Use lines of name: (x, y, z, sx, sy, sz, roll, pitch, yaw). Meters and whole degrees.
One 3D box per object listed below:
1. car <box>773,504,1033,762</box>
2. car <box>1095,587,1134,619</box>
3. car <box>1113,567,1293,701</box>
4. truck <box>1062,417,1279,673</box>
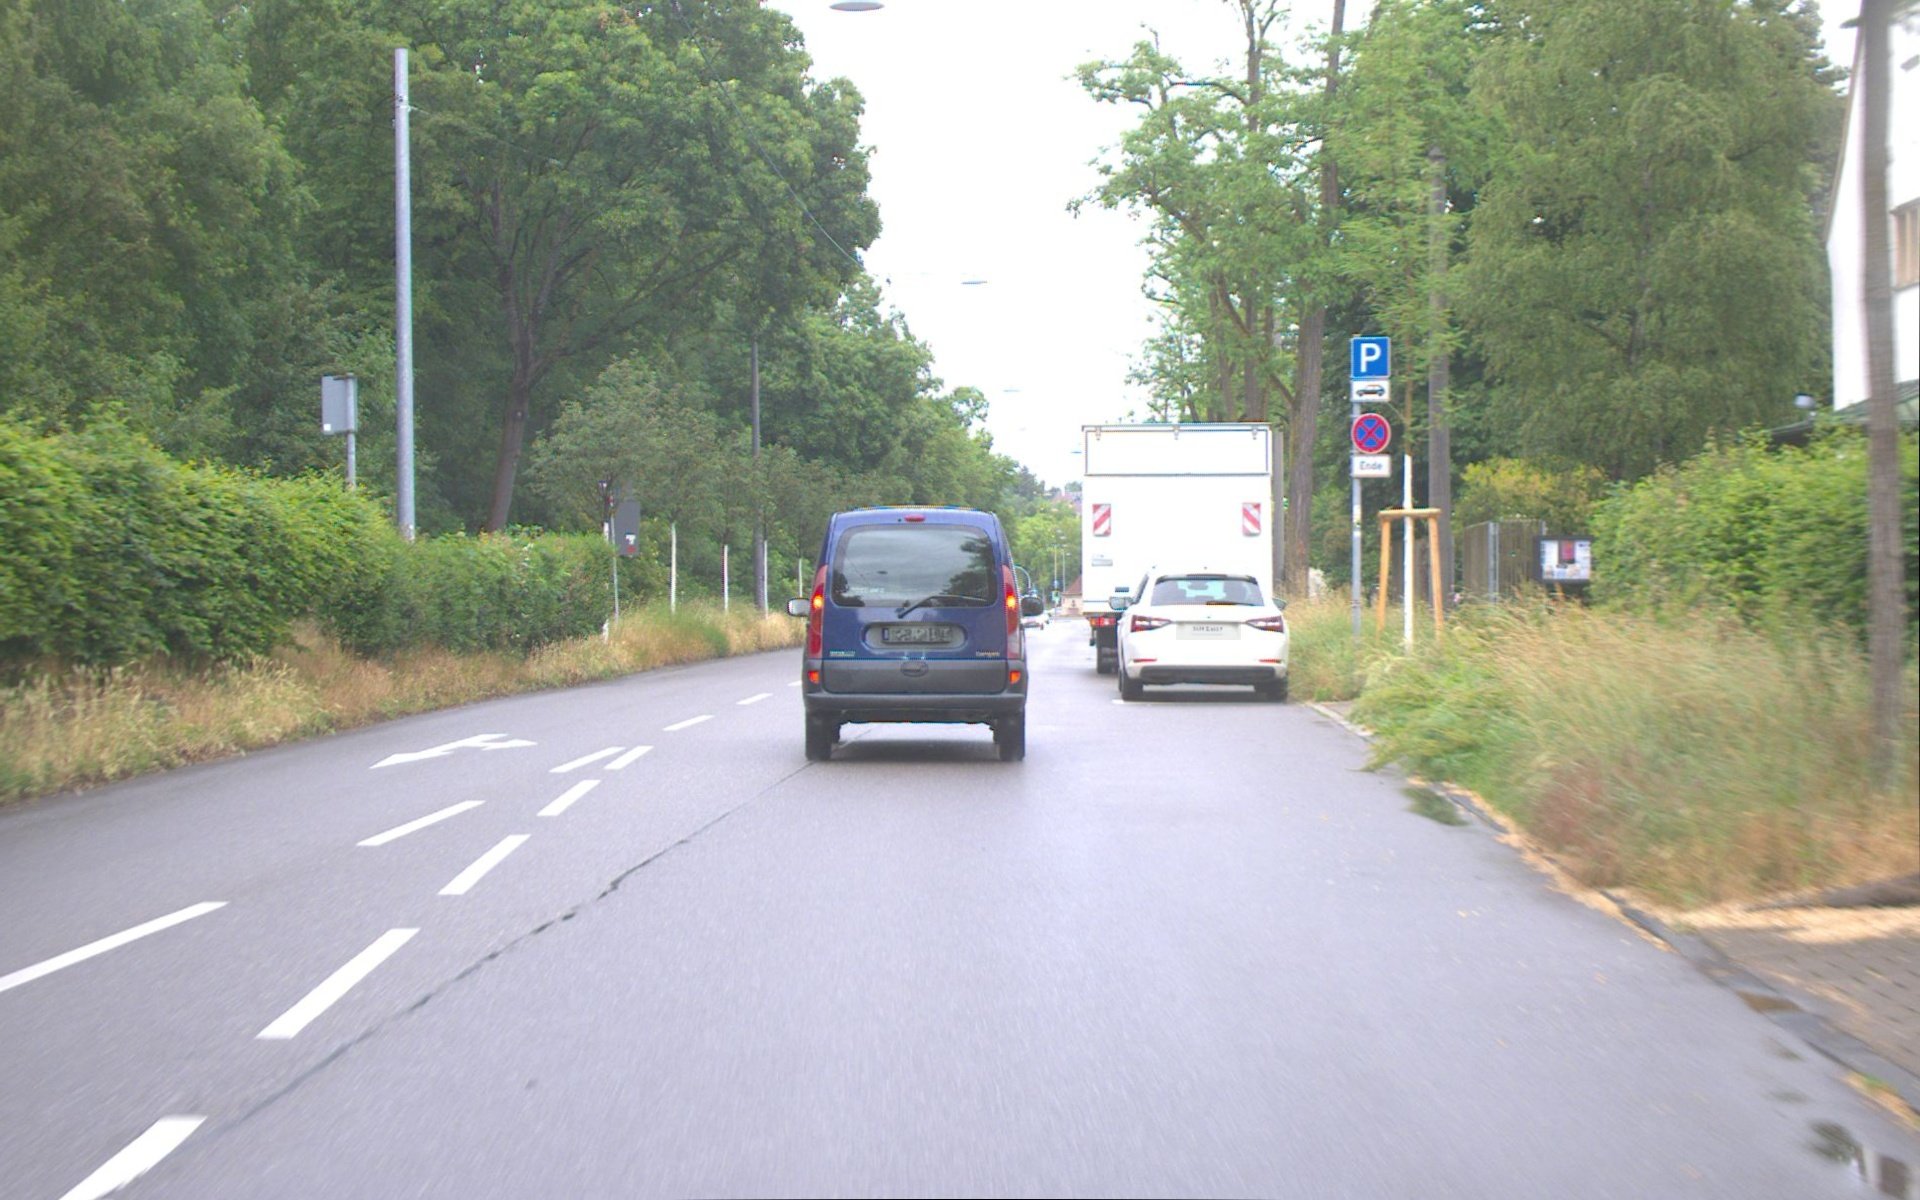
car: (-0.510, 0.212, 26.157, 1.808, 1.791, 4.001, -1, 1, -3)
car: (7.982, 0.160, 177.690, 1.993, 1.579, 4.000, -1, 1, 2)
car: (2.654, 0.339, 38.353, 1.813, 1.376, 4.285, -1, 1, 2)
truck: (2.903, -0.772, 49.093, 2.731, 3.375, 6.685, -1, 1, 1)
